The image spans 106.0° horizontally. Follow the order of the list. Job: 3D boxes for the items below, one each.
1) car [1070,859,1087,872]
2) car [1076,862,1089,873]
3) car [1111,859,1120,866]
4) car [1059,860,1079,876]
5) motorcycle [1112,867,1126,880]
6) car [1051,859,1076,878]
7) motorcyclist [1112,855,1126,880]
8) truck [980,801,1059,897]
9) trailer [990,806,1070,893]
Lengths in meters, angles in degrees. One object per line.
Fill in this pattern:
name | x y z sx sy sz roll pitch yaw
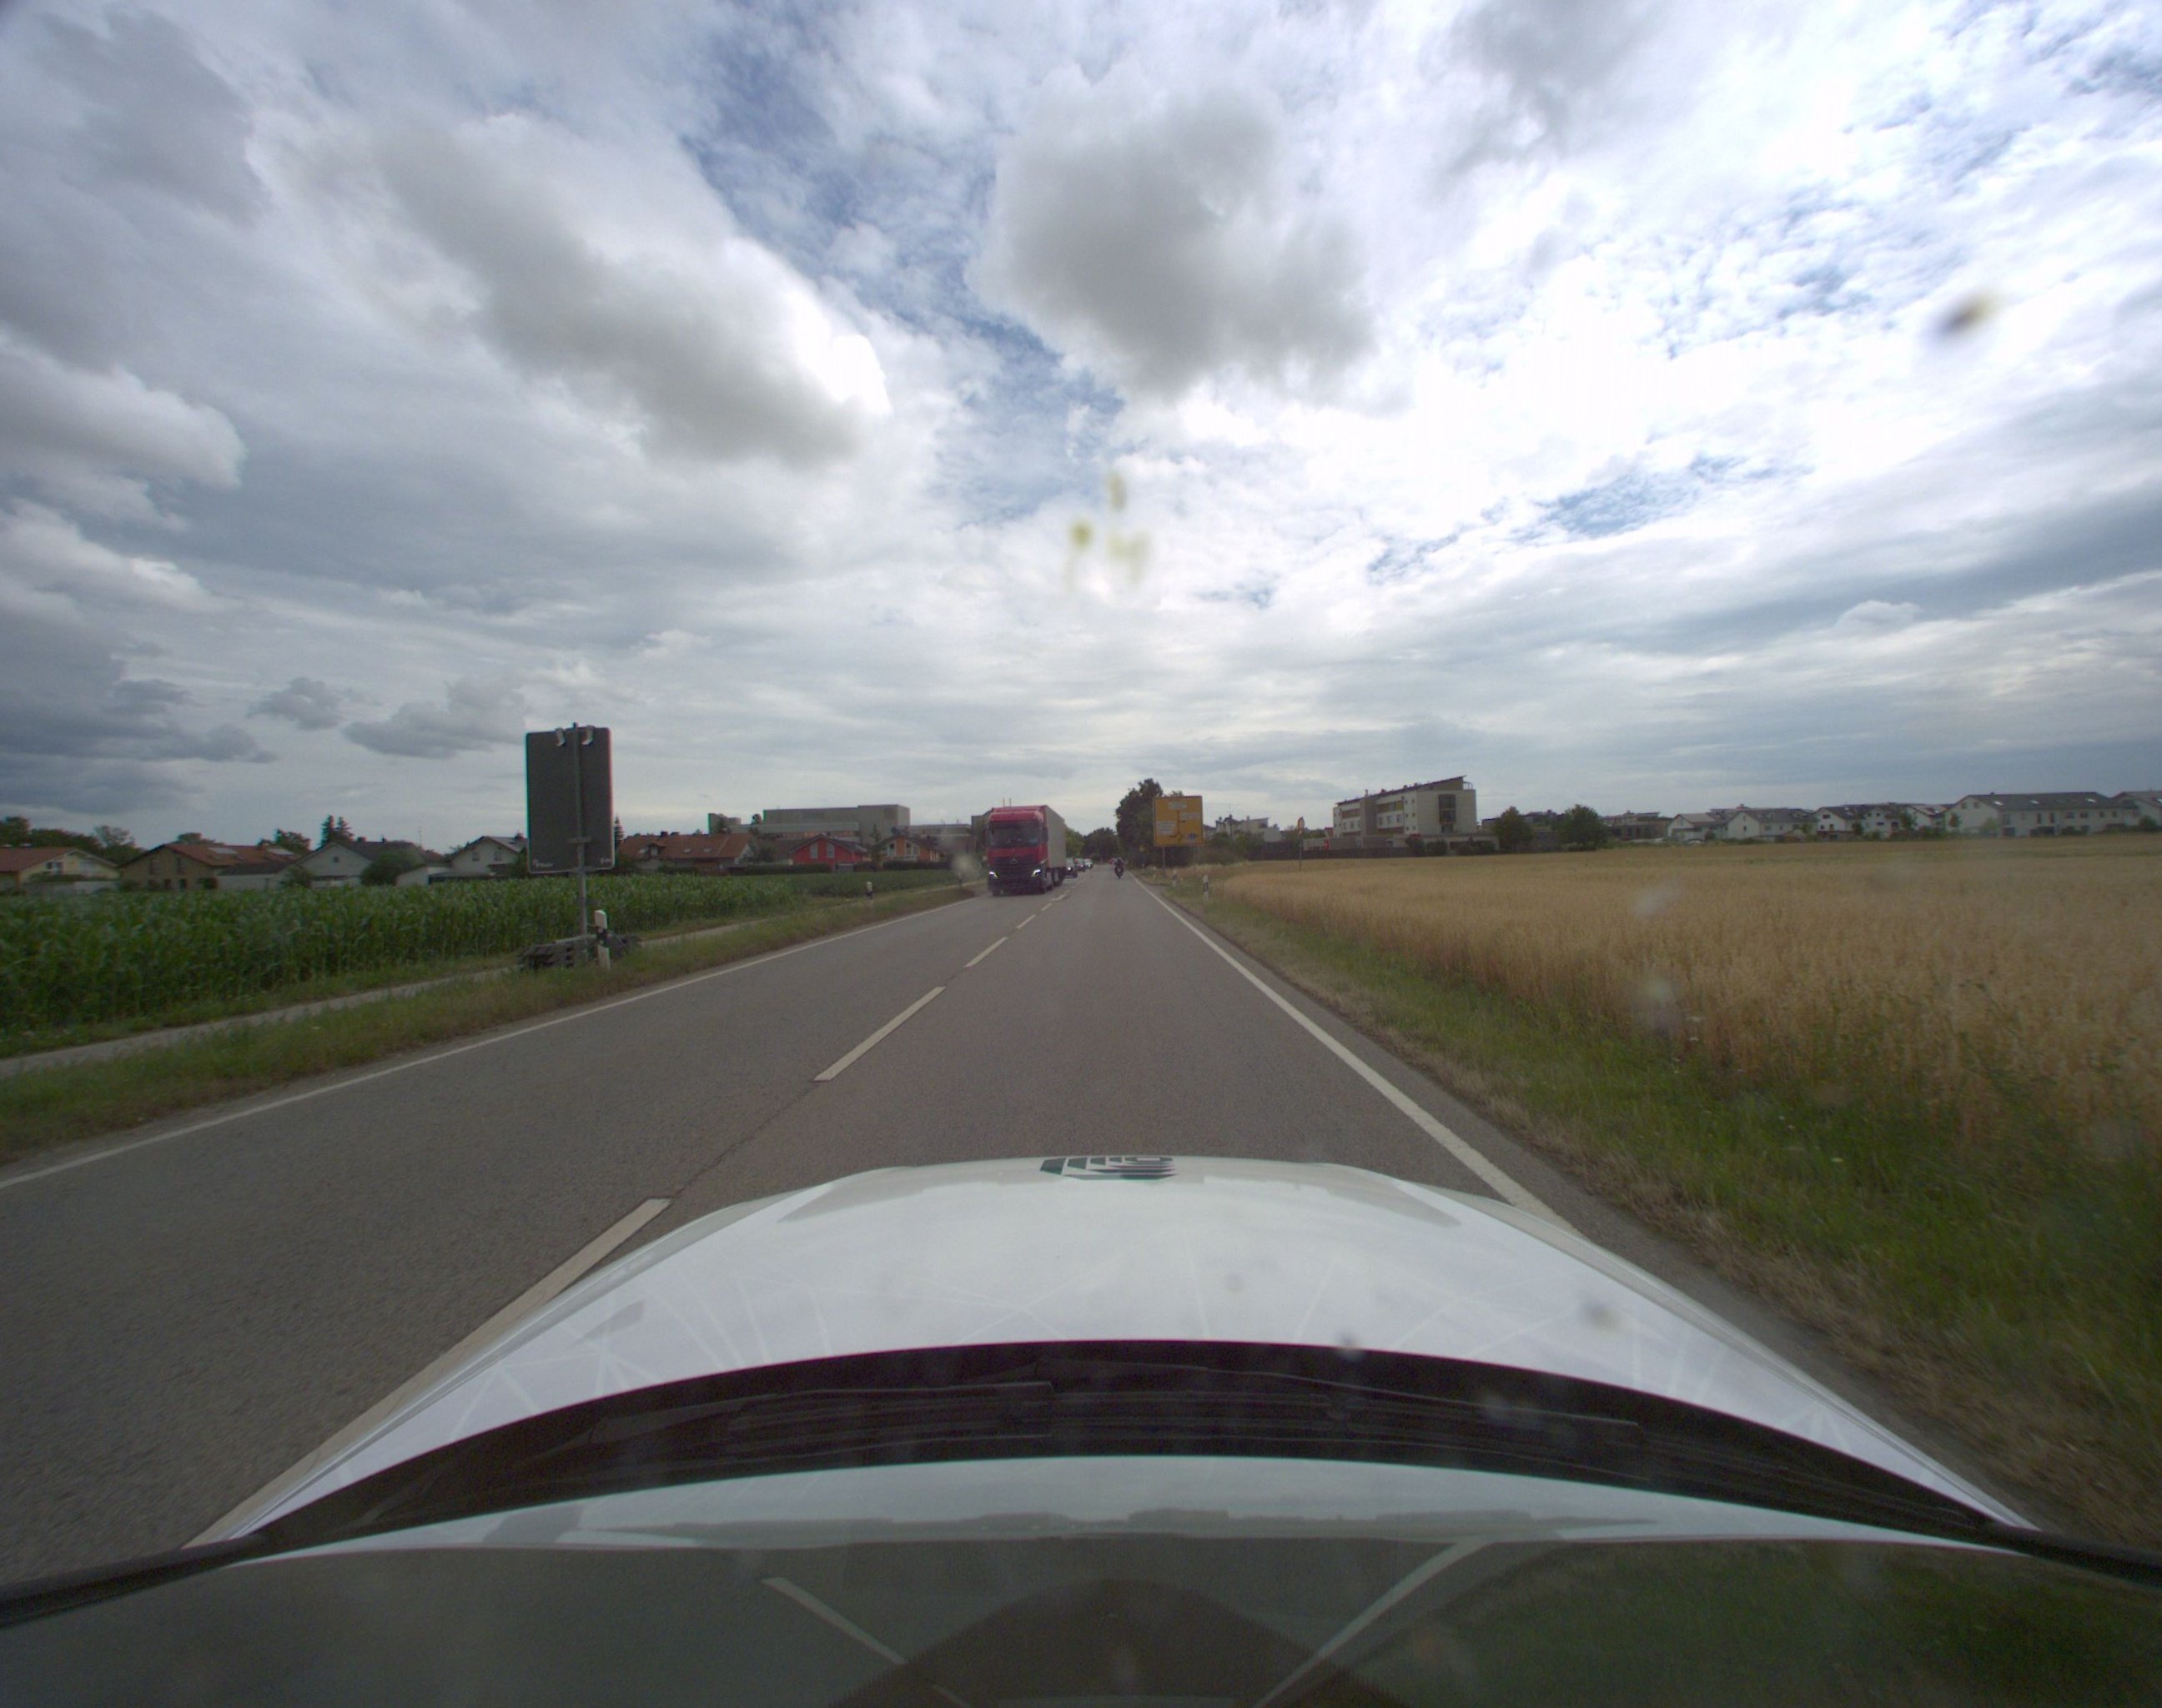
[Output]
car | -0.276 1.361 95.885 1.849 1.472 4.000 -2 -1 0
car | 0.202 1.881 117.639 1.849 1.472 4.000 -2 -1 0
car | 7.955 1.995 188.394 1.848 1.472 4.002 -2 -1 2
car | -1.130 1.365 80.464 1.849 1.472 4.000 -2 -1 0
motorcycle | 2.783 1.406 59.444 0.937 0.890 2.147 -2 -1 2
car | -1.391 1.184 66.476 1.849 1.472 4.000 -2 -1 0
motorcyclist | 2.760 0.983 59.528 0.938 1.750 1.201 -2 -1 2
truck | -2.733 -0.184 38.420 2.719 3.987 6.820 -3 -1 2
trailer | -2.449 -0.164 44.675 2.718 3.946 13.789 -3 -1 3
